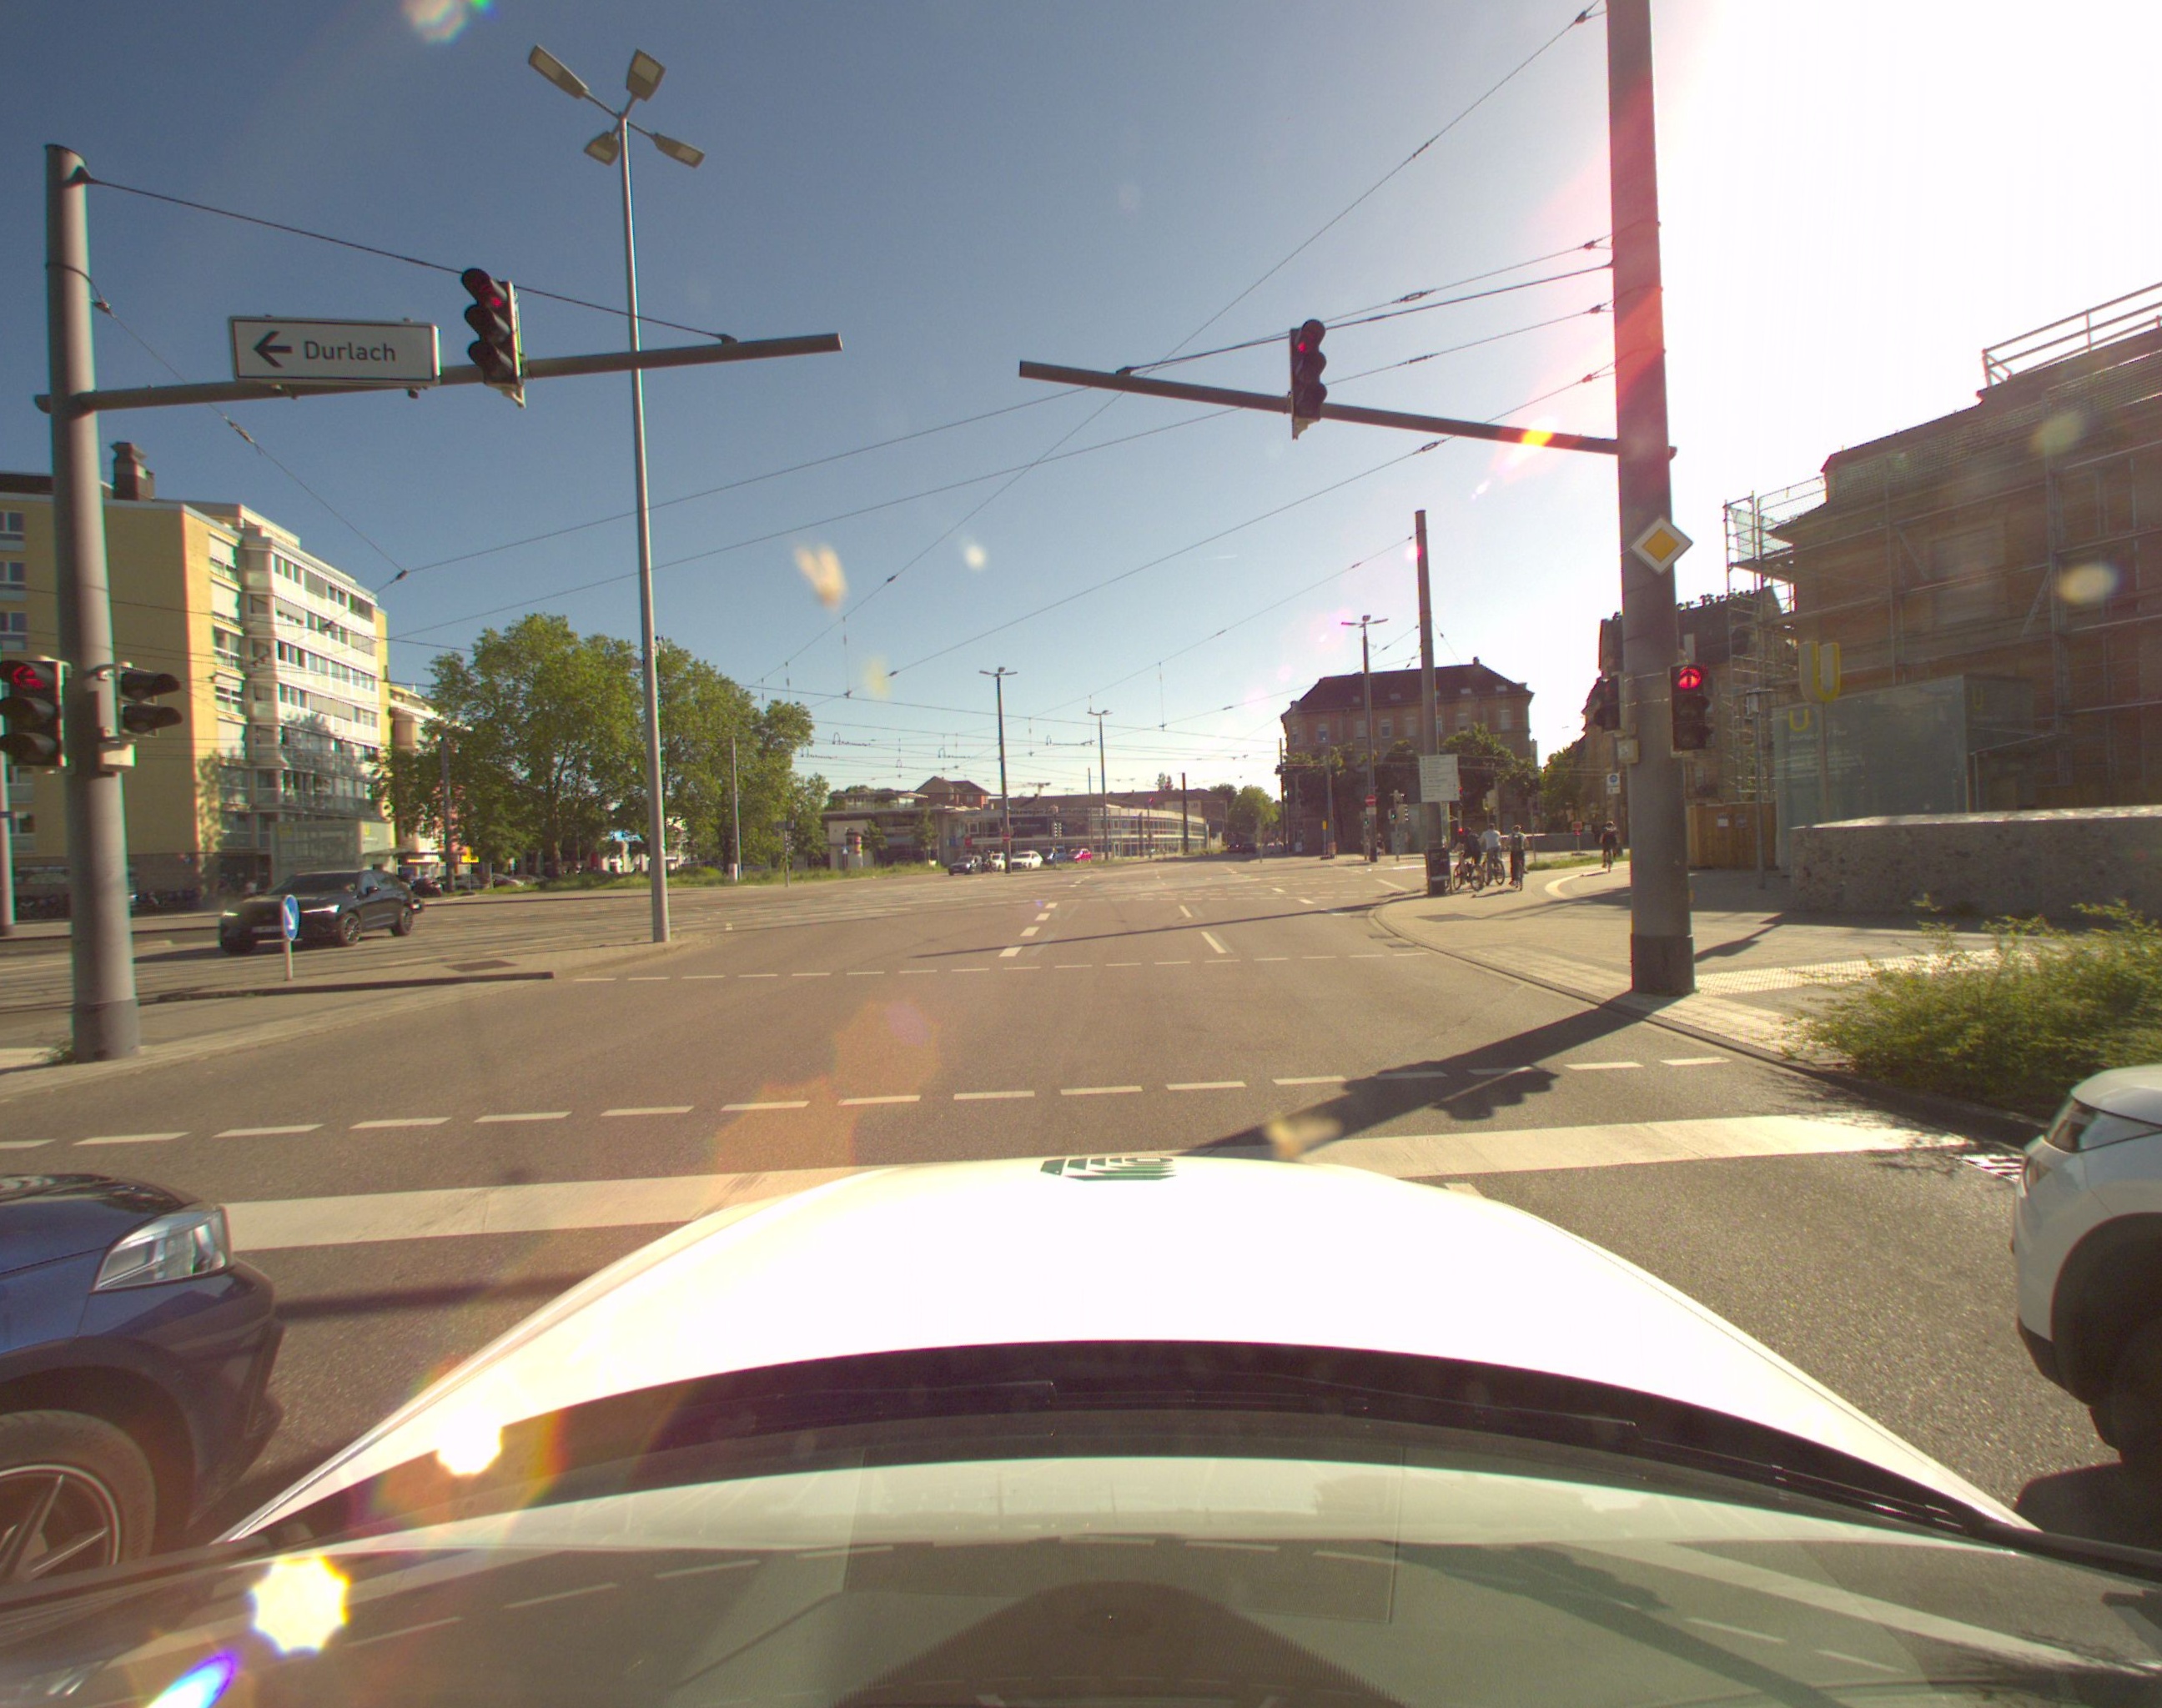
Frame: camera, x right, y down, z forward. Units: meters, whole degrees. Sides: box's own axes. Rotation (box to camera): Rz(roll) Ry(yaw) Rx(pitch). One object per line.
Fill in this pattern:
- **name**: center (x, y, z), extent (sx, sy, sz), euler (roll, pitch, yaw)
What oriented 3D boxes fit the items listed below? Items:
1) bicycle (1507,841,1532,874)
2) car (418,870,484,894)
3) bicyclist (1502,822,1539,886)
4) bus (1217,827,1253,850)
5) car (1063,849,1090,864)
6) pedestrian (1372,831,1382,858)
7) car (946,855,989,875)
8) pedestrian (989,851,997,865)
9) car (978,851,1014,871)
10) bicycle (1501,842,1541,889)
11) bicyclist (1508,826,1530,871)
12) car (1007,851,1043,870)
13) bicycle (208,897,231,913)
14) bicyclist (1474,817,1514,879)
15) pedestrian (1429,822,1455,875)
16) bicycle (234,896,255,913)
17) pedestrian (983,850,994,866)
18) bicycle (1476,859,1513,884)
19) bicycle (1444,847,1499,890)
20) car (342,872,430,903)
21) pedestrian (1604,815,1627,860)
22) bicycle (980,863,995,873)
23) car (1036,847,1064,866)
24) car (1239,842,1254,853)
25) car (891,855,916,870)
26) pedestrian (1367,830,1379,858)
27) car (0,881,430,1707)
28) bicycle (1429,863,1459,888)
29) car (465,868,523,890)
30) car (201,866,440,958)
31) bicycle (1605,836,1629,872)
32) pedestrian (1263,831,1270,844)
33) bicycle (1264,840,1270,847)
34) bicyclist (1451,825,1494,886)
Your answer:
- **bicycle**: center (15.592, 0.105, 28.980), extent (0.566, 1.125, 1.750), euler (-1, 0, 22)
- **car**: center (-49.702, 2.154, 64.291), extent (3.742, 1.662, 1.585), euler (-2, 0, -18)
- **bicyclist**: center (11.613, -0.005, 21.549), extent (0.679, 1.598, 0.982), euler (-4, -1, 23)
- **bus**: center (27.756, -2.671, 145.397), extent (3.807, 3.607, 24.974), euler (-1, 0, 17)
- **car**: center (-0.445, 0.250, 86.278), extent (1.613, 1.364, 3.703), euler (-2, 0, 18)
- **pedestrian**: center (21.891, -0.716, 60.301), extent (0.461, 2.013, 0.449), euler (-3, 0, -16)
- **car**: center (-8.502, 0.781, 61.233), extent (1.689, 1.354, 3.719), euler (-2, 0, 19)
- **pedestrian**: center (-8.011, 0.342, 73.898), extent (0.419, 1.204, 0.684), euler (-2, 0, 20)
- **car**: center (-6.982, 0.559, 67.157), extent (1.613, 1.424, 3.702), euler (-2, 0, 17)
- **bicycle**: center (11.662, 0.287, 21.623), extent (0.679, 1.163, 1.894), euler (-4, 0, 23)
- **bicyclist**: center (15.602, -0.211, 29.036), extent (0.566, 1.568, 0.952), euler (-1, 0, 22)
- **car**: center (-4.476, 0.518, 65.214), extent (1.613, 1.382, 3.754), euler (-2, 0, 17)
- **bicycle**: center (-46.325, 2.742, 43.788), extent (0.462, 0.780, 1.789), euler (-2, 0, -35)
- **bicyclist**: center (12.343, -0.185, 24.369), extent (0.742, 1.778, 0.926), euler (-3, 0, 9)
- **pedestrian**: center (10.902, -0.164, 24.590), extent (0.544, 1.562, 0.862), euler (-2, 0, 15)
- **bicycle**: center (-45.376, 2.721, 44.165), extent (0.489, 0.812, 1.595), euler (-2, 0, -35)
- **pedestrian**: center (-6.900, 0.285, 60.741), extent (0.419, 1.204, 0.753), euler (-2, 0, 19)
- **bicycle**: center (12.382, 0.510, 24.407), extent (0.534, 0.655, 1.471), euler (-3, 0, 9)
- **bicycle**: center (10.884, 0.378, 22.768), extent (0.623, 1.114, 1.852), euler (-4, 0, 2)
- **car**: center (-42.740, 2.059, 50.163), extent (3.742, 1.662, 1.585), euler (-2, 0, -18)
- **pedestrian**: center (17.448, -0.553, 26.569), extent (0.511, 1.402, 0.968), euler (-4, 0, 36)
- **bicycle**: center (-6.922, 1.029, 60.580), extent (0.419, 0.718, 1.642), euler (-2, 0, 19)
- **car**: center (-2.996, 0.243, 79.207), extent (1.613, 1.692, 3.702), euler (-2, 0, 17)
- **car**: center (23.785, -0.985, 116.861), extent (1.686, 1.503, 4.284), euler (-2, 0, 17)
- **car**: center (-21.876, 1.080, 100.583), extent (1.958, 1.706, 4.085), euler (-2, 0, 2)
- **pedestrian**: center (21.425, -0.712, 59.793), extent (0.574, 2.013, 0.449), euler (-3, 0, -16)
- **car**: center (-2.663, 0.803, 0.160), extent (1.704, 1.445, 4.034), euler (-1, 0, 2)
- **bicycle**: center (11.017, 0.649, 24.758), extent (0.533, 0.655, 1.733), euler (-5, 0, 16)
- **car**: center (-51.277, 2.182, 71.215), extent (3.742, 1.662, 1.585), euler (-2, 0, -18)
- **car**: center (-16.479, 1.155, 17.991), extent (1.864, 1.659, 4.059), euler (-2, 0, -10)
- **bicycle**: center (17.427, -0.012, 26.484), extent (0.511, 1.044, 1.780), euler (-4, 0, 36)
- **pedestrian**: center (24.497, -2.155, 107.476), extent (0.797, 1.632, 0.721), euler (-2, 0, 14)
- **bicycle**: center (24.448, -1.361, 106.958), extent (0.738, 0.870, 1.938), euler (-2, 0, 13)
- **bicyclist**: center (10.859, 0.035, 22.618), extent (0.623, 1.637, 0.995), euler (-4, 0, 2)
